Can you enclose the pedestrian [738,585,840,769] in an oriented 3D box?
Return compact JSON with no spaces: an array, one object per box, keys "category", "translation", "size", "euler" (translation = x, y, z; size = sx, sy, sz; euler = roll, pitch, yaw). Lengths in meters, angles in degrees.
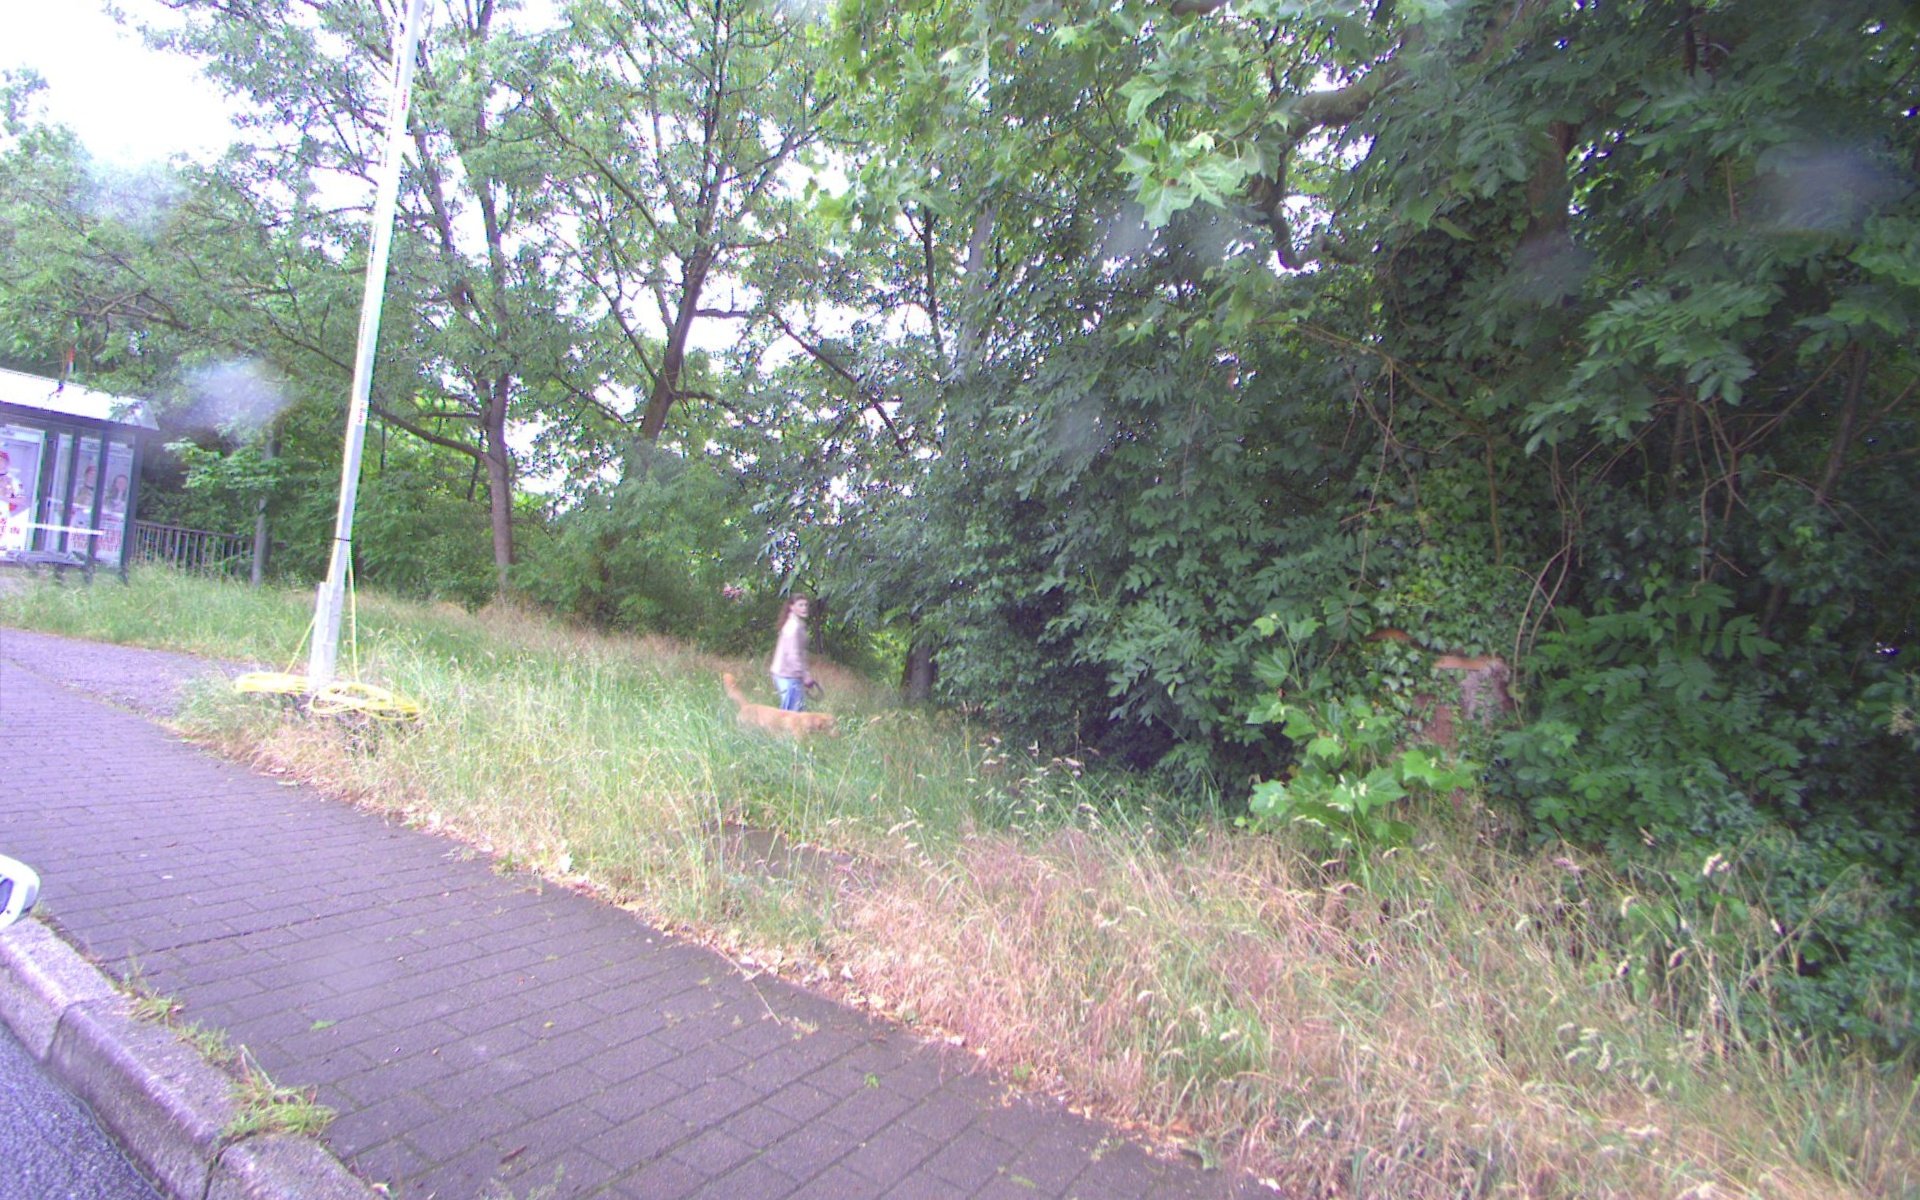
[{"category":"pedestrian","translation":[-1.652,0.720,9.660],"size":[0.740,1.622,0.731],"euler":[7,-1,-12]}]
